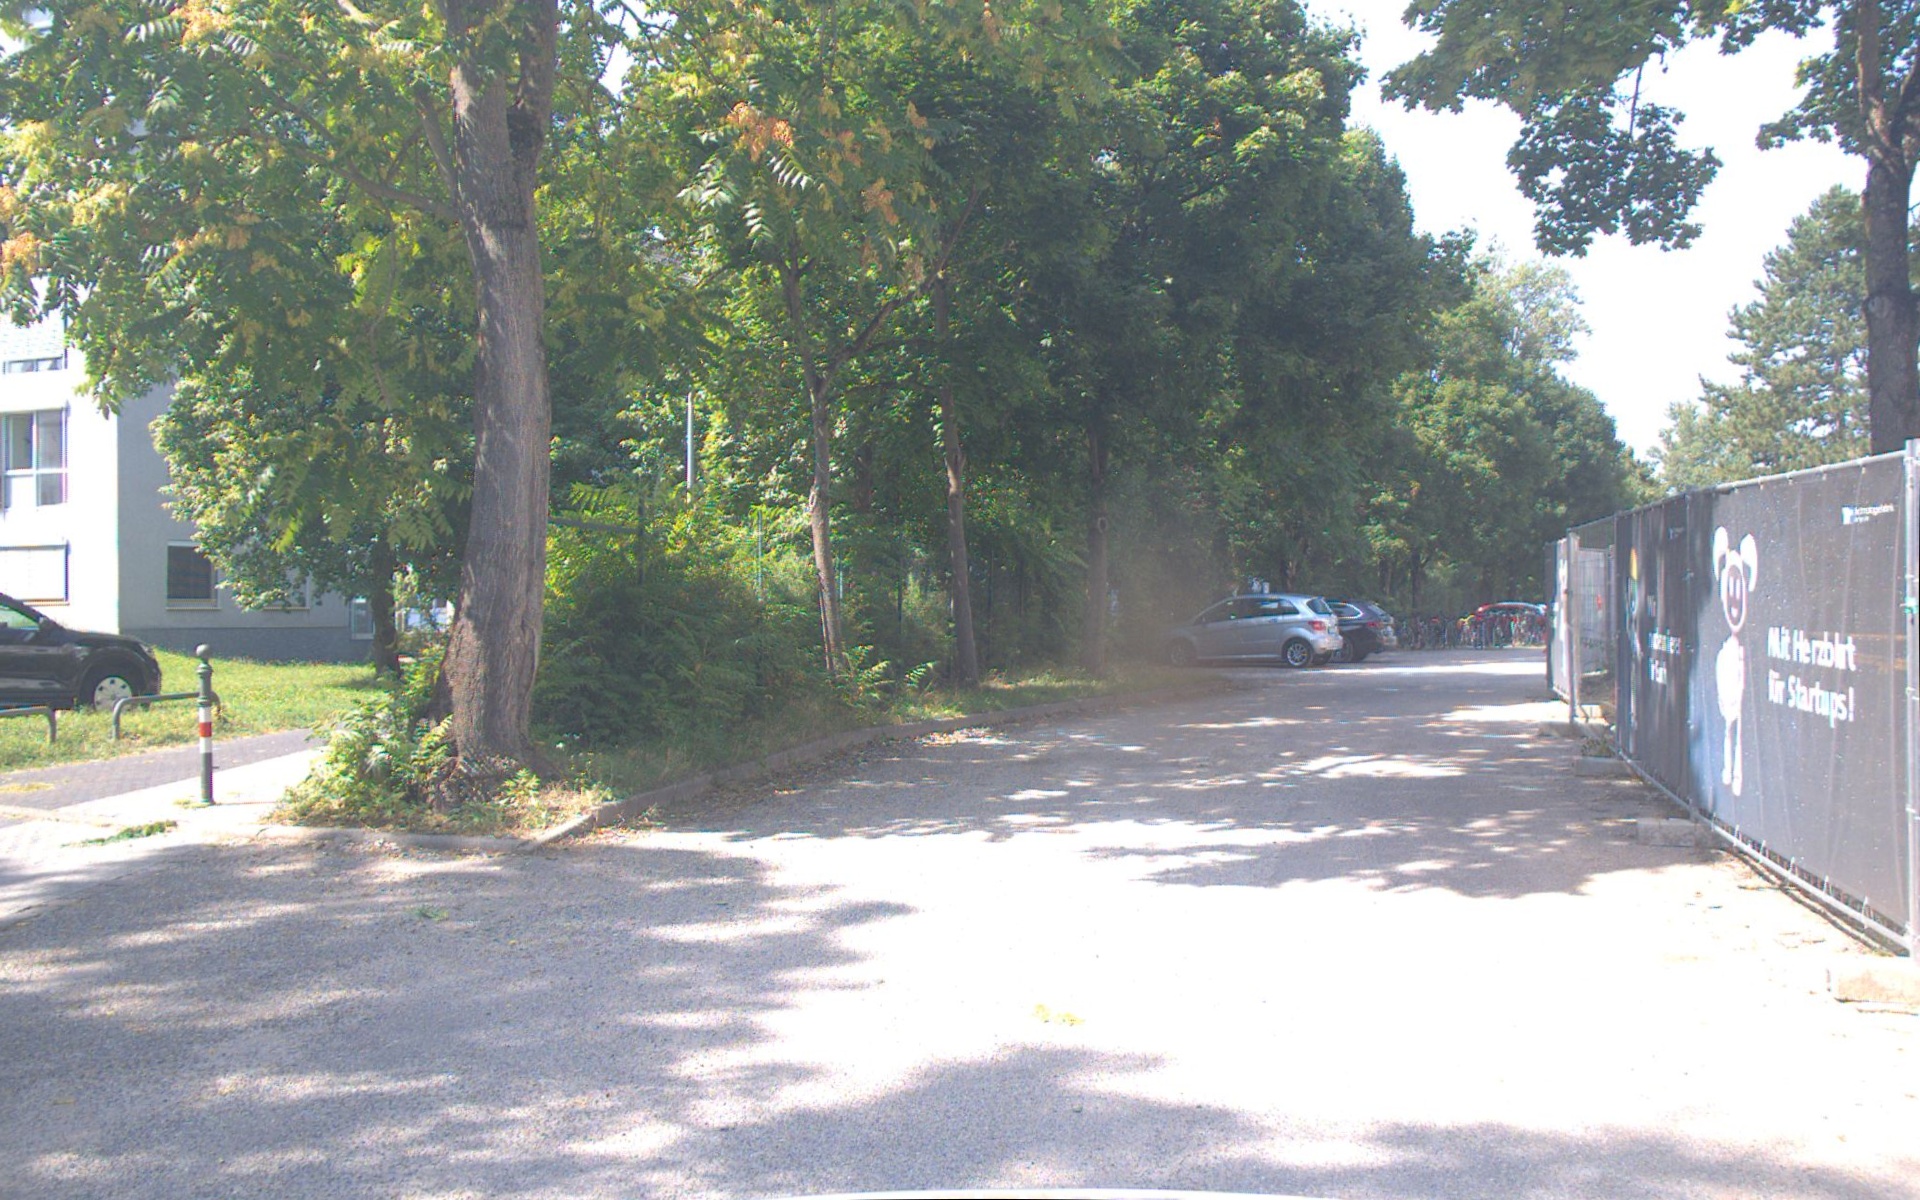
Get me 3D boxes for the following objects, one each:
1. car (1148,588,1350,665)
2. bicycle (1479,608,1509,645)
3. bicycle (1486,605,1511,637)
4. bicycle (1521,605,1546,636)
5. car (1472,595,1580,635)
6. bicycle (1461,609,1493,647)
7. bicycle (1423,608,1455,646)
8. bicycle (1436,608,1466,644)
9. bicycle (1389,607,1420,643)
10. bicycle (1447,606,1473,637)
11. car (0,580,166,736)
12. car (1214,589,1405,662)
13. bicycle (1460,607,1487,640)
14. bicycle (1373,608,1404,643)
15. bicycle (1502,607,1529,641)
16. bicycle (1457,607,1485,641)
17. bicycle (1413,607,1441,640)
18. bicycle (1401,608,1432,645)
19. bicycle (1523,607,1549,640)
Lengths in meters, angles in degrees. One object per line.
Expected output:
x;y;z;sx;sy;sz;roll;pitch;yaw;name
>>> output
6.502;0.565;37.227;4.068;1.641;1.997;0;0;28;car
16.901;0.820;52.335;0.489;1.127;1.796;0;0;31;bicycle
19.855;0.770;60.960;0.489;1.127;1.796;0;0;31;bicycle
21.011;0.746;60.607;0.489;1.127;1.796;0;0;31;bicycle
22.550;0.582;65.889;3.908;1.537;1.798;0;0;26;car
15.635;0.828;49.997;0.489;1.127;1.796;0;0;31;bicycle
14.785;0.823;51.058;0.489;1.127;1.796;0;0;31;bicycle
15.865;0.821;53.469;0.489;1.127;1.796;0;0;31;bicycle
14.461;0.808;53.753;0.489;1.127;1.796;0;0;31;bicycle
18.522;0.796;61.207;0.489;1.127;1.796;0;0;31;bicycle
-10.415;0.589;16.864;1.671;1.554;3.902;-1;0;32;car
8.289;0.560;39.273;4.068;1.641;1.997;0;0;28;car
18.029;0.812;58.067;0.489;1.127;1.796;0;0;31;bicycle
13.984;0.819;53.986;0.489;1.127;1.796;0;0;31;bicycle
18.804;0.814;55.930;0.489;1.127;1.796;0;0;31;bicycle
17.331;0.808;56.070;0.489;1.127;1.796;0;0;31;bicycle
16.154;0.797;57.197;0.489;1.127;1.796;0;0;31;bicycle
14.300;0.822;51.799;0.489;1.127;1.796;0;0;31;bicycle
20.106;0.812;57.741;0.489;1.127;1.796;0;0;31;bicycle
